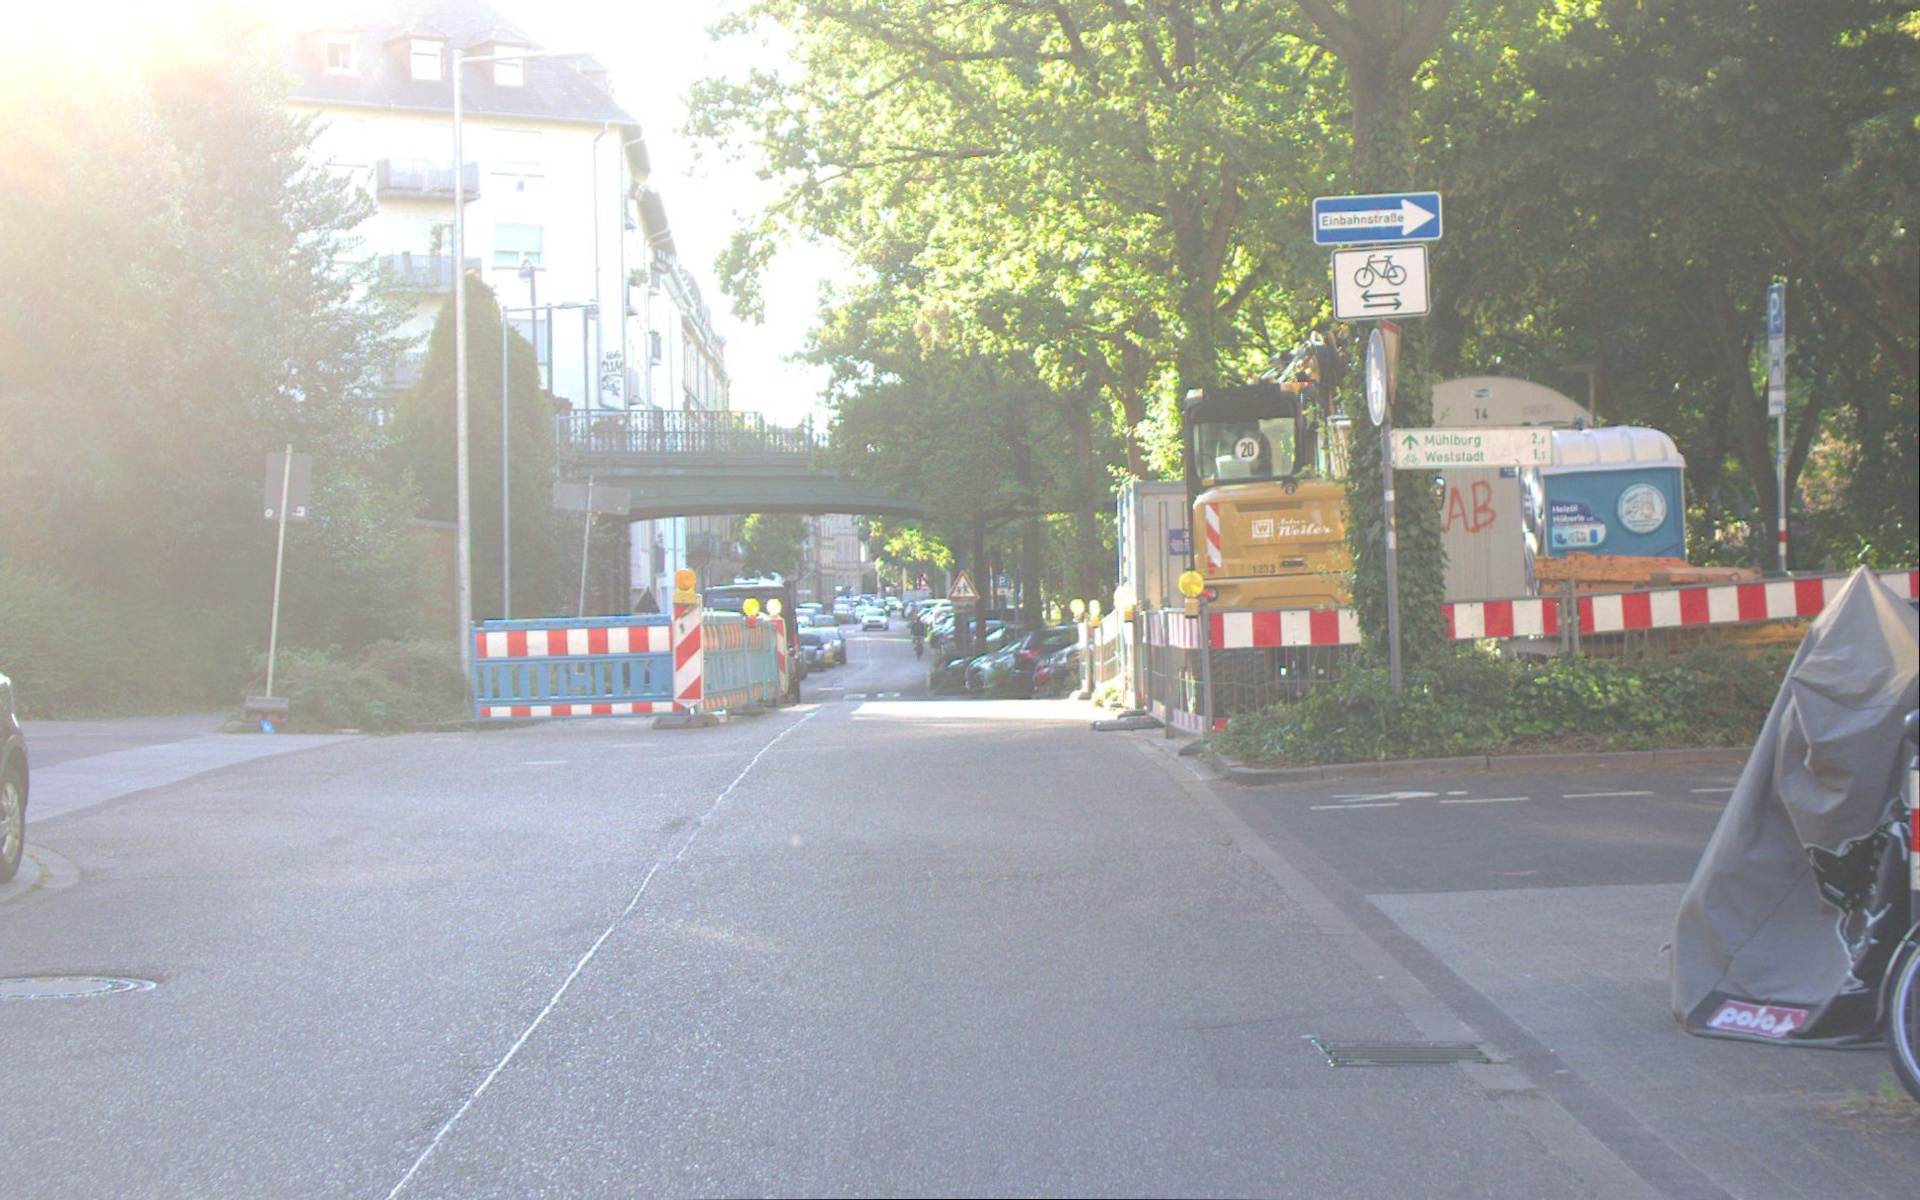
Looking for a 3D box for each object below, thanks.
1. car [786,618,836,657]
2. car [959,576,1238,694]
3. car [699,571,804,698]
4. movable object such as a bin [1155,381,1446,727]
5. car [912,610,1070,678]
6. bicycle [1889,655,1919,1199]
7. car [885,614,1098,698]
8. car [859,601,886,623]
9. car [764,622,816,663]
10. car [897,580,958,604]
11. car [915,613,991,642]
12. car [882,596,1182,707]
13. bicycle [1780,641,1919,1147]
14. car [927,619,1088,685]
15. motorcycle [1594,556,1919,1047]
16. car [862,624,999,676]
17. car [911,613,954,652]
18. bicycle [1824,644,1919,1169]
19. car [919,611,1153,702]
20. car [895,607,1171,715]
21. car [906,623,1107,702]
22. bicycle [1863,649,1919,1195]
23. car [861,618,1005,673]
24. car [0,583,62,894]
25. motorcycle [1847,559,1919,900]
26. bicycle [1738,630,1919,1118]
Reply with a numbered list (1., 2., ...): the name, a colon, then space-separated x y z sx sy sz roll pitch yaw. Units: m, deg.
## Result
1. car: -5.761 1.460 132.925 1.812 1.393 3.975 -2 -2 -2
2. car: 2.426 0.643 60.873 4.741 1.990 1.917 0 -2 -4
3. car: -4.270 0.765 70.855 2.047 2.489 5.697 0 -2 -3
4. movable object such as a bin: 2.876 -0.367 28.504 1.995 2.690 3.108 -1 0 13
5. car: 0.862 1.255 98.116 4.387 1.855 1.917 0 -2 -3
6. bicycle: 3.088 0.737 7.755 1.924 1.242 0.303 -1 1 -6
7. car: 0.632 1.189 72.605 4.387 1.696 1.917 0 -2 -3
8. car: -6.125 0.851 240.782 1.812 1.393 3.975 -2 -2 -2
9. car: -6.308 1.607 127.867 1.812 1.393 3.975 -2 -2 -2
10. car: -2.373 -0.580 251.281 4.387 1.604 1.781 0 -2 0
11. car: -0.412 1.607 199.307 4.387 1.604 1.781 0 -2 0
12. car: 1.064 0.804 52.377 4.386 1.601 1.917 0 -2 -4
13. bicycle: 3.083 0.721 8.775 1.924 1.242 0.303 -1 1 -6
14. car: 1.305 1.455 96.075 4.387 1.779 1.917 0 -2 -3
15. motorcycle: 2.980 0.573 10.270 1.935 1.408 0.939 0 1 28
16. car: -0.974 1.641 112.317 4.387 1.604 1.781 0 -2 -3
17. car: -1.181 1.409 147.096 1.775 1.604 4.402 -1 -1 -1
18. bicycle: 3.115 0.723 8.455 1.924 1.242 0.303 -1 1 -6
19. car: 1.439 1.104 66.310 4.387 1.696 1.917 0 -2 -3
20. car: 1.170 1.022 56.317 4.387 1.696 1.917 0 -2 -3
21. car: 1.024 1.414 77.146 4.387 1.696 1.917 0 -2 -3
22. bicycle: 3.122 0.728 8.117 1.924 1.242 0.303 -1 1 -6
23. car: -0.856 1.414 106.201 4.387 1.604 1.781 0 -2 -3
24. car: -5.348 0.677 15.341 1.669 1.453 4.000 -1 1 -1
25. motorcycle: 4.894 0.492 13.858 2.364 1.337 0.941 -1 0 -10
26. bicycle: 3.049 0.699 9.097 1.924 1.242 0.303 -1 1 -6
